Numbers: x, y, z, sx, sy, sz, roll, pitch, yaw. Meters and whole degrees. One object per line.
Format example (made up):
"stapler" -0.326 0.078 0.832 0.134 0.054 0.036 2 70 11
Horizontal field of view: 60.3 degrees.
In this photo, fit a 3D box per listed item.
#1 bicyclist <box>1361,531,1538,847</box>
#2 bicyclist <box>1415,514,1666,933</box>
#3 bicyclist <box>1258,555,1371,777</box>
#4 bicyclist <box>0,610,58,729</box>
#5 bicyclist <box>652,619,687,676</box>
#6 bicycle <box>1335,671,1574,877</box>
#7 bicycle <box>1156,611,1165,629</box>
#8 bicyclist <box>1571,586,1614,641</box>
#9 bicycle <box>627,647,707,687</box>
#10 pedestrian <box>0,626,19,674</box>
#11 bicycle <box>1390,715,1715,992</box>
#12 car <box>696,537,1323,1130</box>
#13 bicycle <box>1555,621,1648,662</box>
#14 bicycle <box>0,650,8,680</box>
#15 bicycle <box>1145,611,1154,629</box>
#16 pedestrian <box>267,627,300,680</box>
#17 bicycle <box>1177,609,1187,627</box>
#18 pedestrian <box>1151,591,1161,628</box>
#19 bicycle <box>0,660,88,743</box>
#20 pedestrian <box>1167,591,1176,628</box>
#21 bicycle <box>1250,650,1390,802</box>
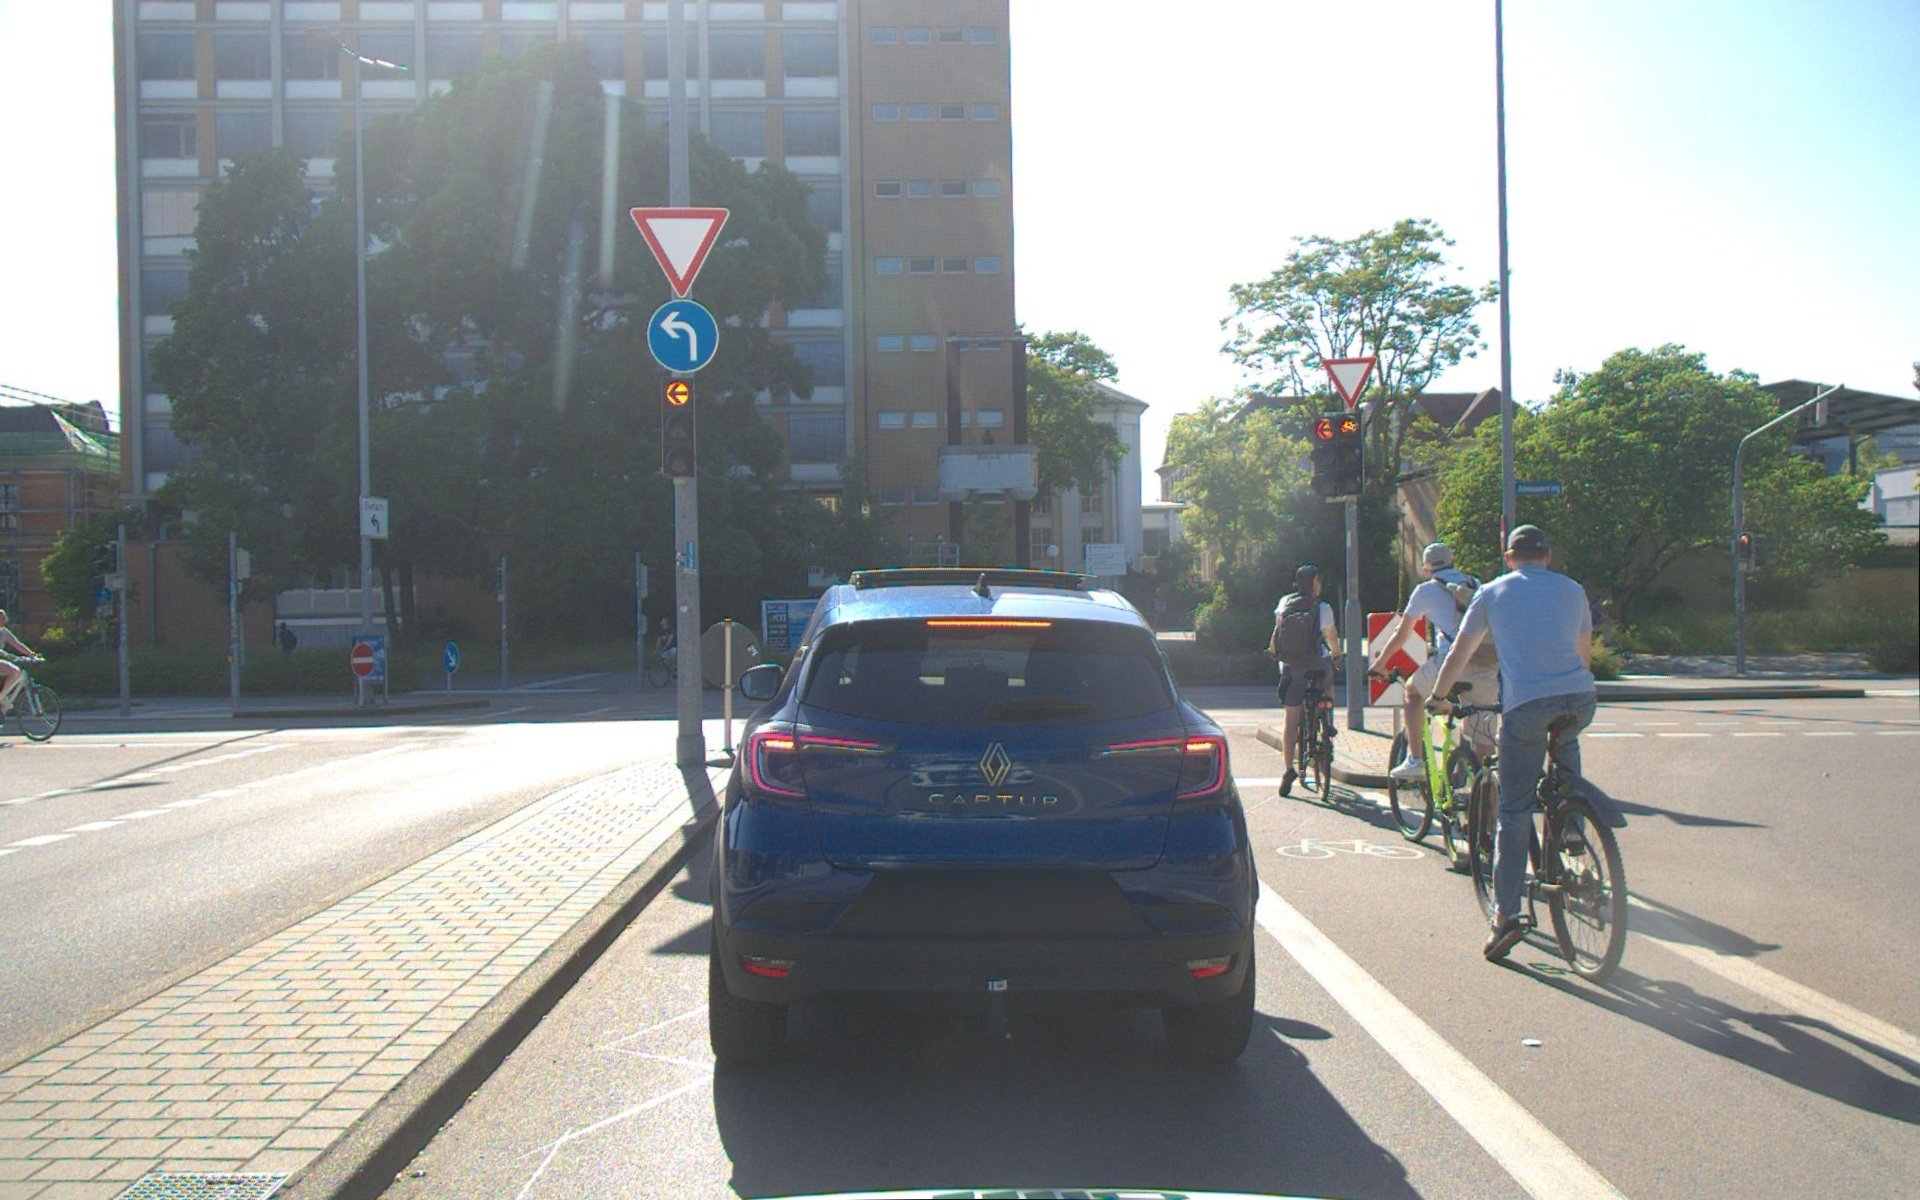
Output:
"bicyclist" 2.887 0.507 9.839 0.633 1.769 1.065 1 0 -6
"bicyclist" 2.512 0.505 7.268 0.736 1.698 1.016 1 0 0
"bicyclist" 2.764 0.499 12.972 0.711 1.657 0.969 1 0 3
"bicyclist" -12.659 0.918 21.834 1.046 1.526 0.742 -3 -1 11
"bicyclist" -7.667 1.238 43.643 0.728 1.466 0.593 -1 0 -27
"bicycle" 2.875 0.975 9.842 0.646 1.020 1.967 1 0 -6
"bicycle" 11.409 1.153 94.186 0.397 0.990 1.684 1 0 3
"bicyclist" 15.791 0.332 41.290 0.808 1.339 0.696 -2 1 4
"bicycle" -7.715 1.762 43.616 1.982 0.981 0.593 -1 0 -28
"pedestrian" -32.567 1.696 56.281 0.842 1.598 0.559 -1 0 23
"bicycle" 2.507 1.031 7.271 0.725 0.911 1.978 1 0 0
"car" 0.065 0.665 6.679 1.767 1.660 3.998 1 0 -3
"bicycle" 15.992 1.033 41.258 2.037 0.946 0.696 -2 1 6
"bicycle" -32.775 2.189 55.212 2.034 0.981 0.598 -1 0 23
"bicycle" 10.800 1.143 94.220 0.397 0.990 1.684 1 0 3
"pedestrian" -21.177 1.668 51.807 0.722 1.631 0.598 -1 0 21
"bicycle" 12.685 1.030 94.587 0.397 0.990 1.684 1 0 3
"pedestrian" 10.802 0.514 91.193 0.465 2.049 0.523 -1 0 5
"bicycle" -12.644 1.362 21.821 1.942 1.012 0.742 -3 -1 11
"pedestrian" 11.832 0.537 92.560 0.465 2.049 0.468 -1 0 5
"bicycle" 2.766 0.933 12.921 0.723 1.012 2.174 1 0 3
